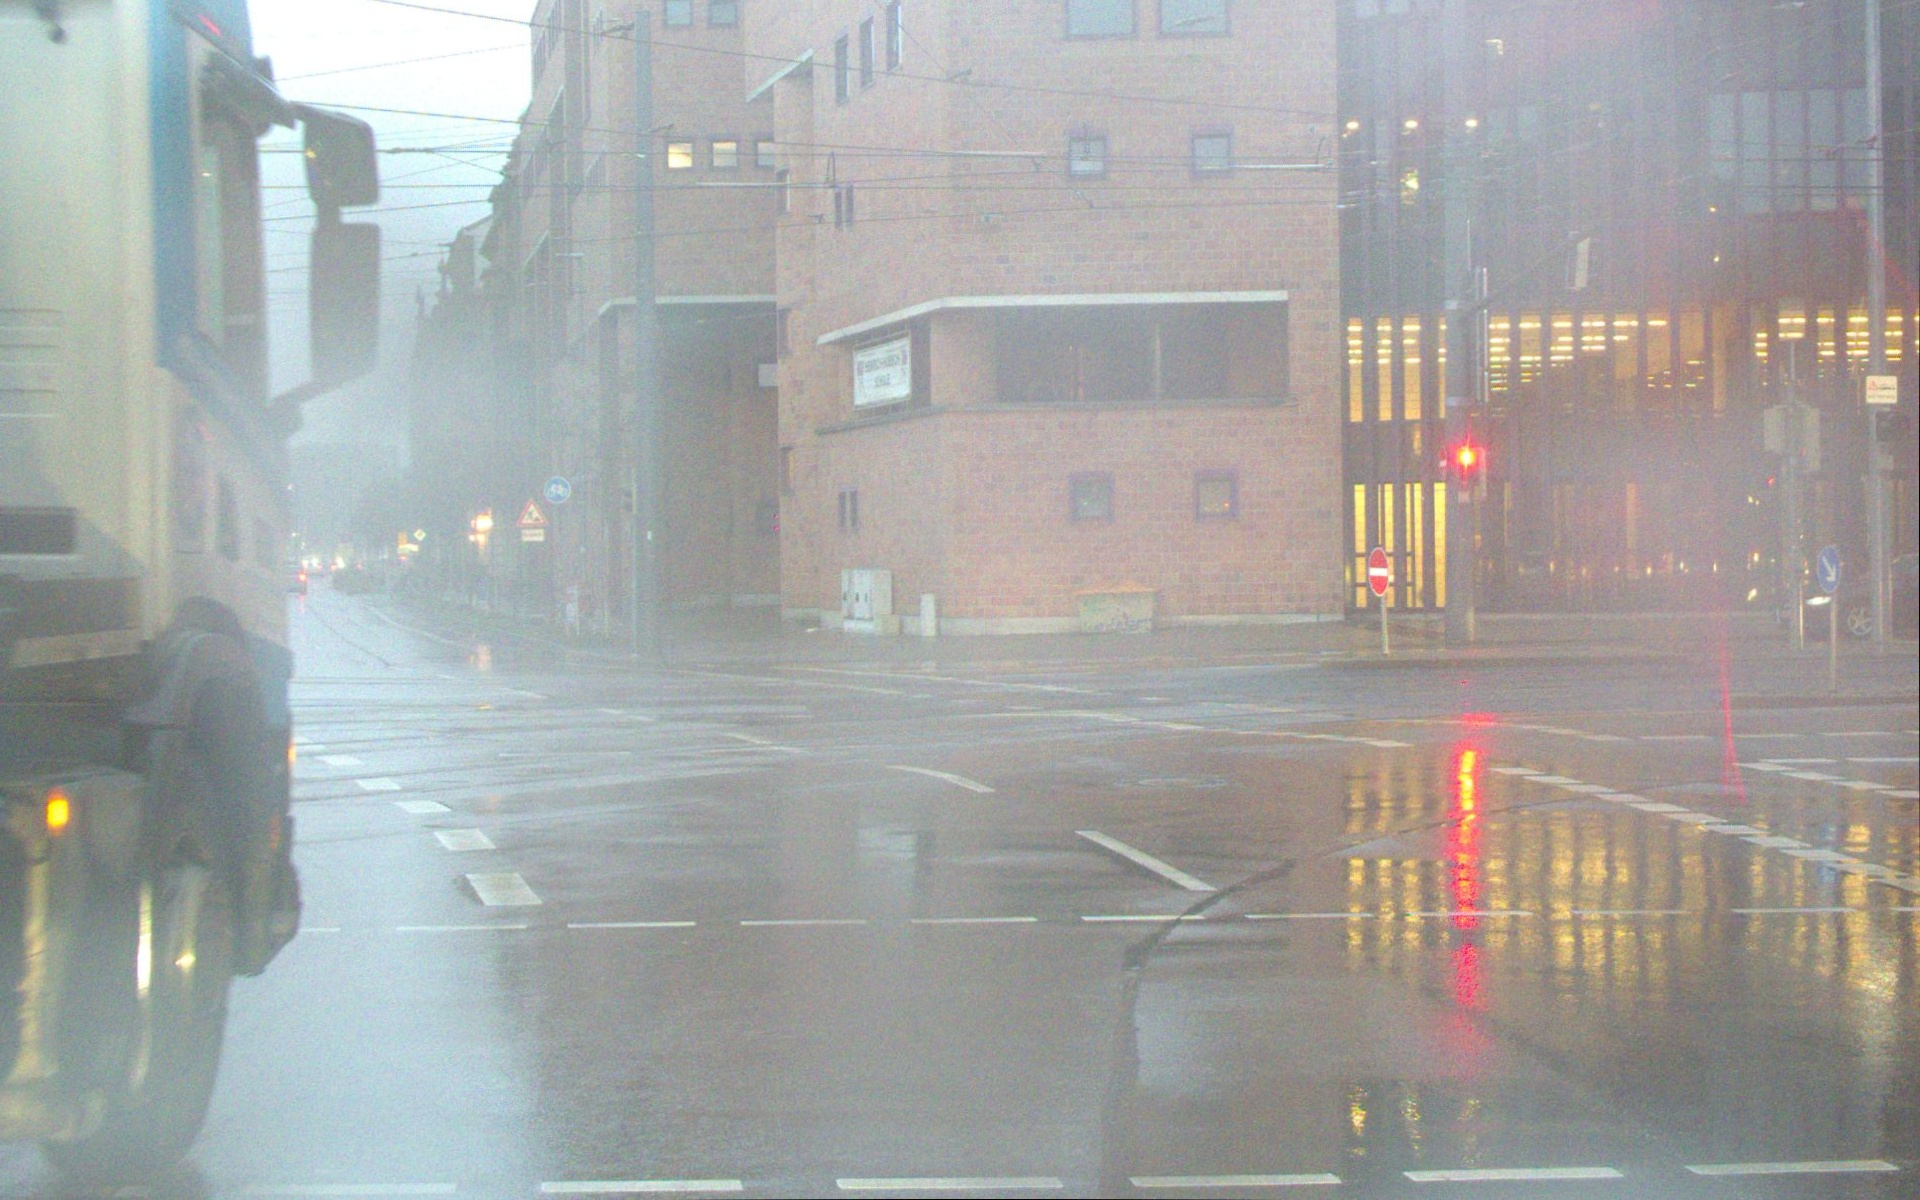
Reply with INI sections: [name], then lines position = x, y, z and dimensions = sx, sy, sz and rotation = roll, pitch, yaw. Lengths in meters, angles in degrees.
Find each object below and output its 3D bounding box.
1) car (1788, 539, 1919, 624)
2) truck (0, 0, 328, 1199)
[car]
position = 15.698, -0.335, 55.737
dimensions = 3.986, 1.305, 2.000
rotation = -1, 1, -4
[truck]
position = -3.102, -0.279, 5.773
dimensions = 2.839, 3.621, 7.527
rotation = -1, 1, -2
